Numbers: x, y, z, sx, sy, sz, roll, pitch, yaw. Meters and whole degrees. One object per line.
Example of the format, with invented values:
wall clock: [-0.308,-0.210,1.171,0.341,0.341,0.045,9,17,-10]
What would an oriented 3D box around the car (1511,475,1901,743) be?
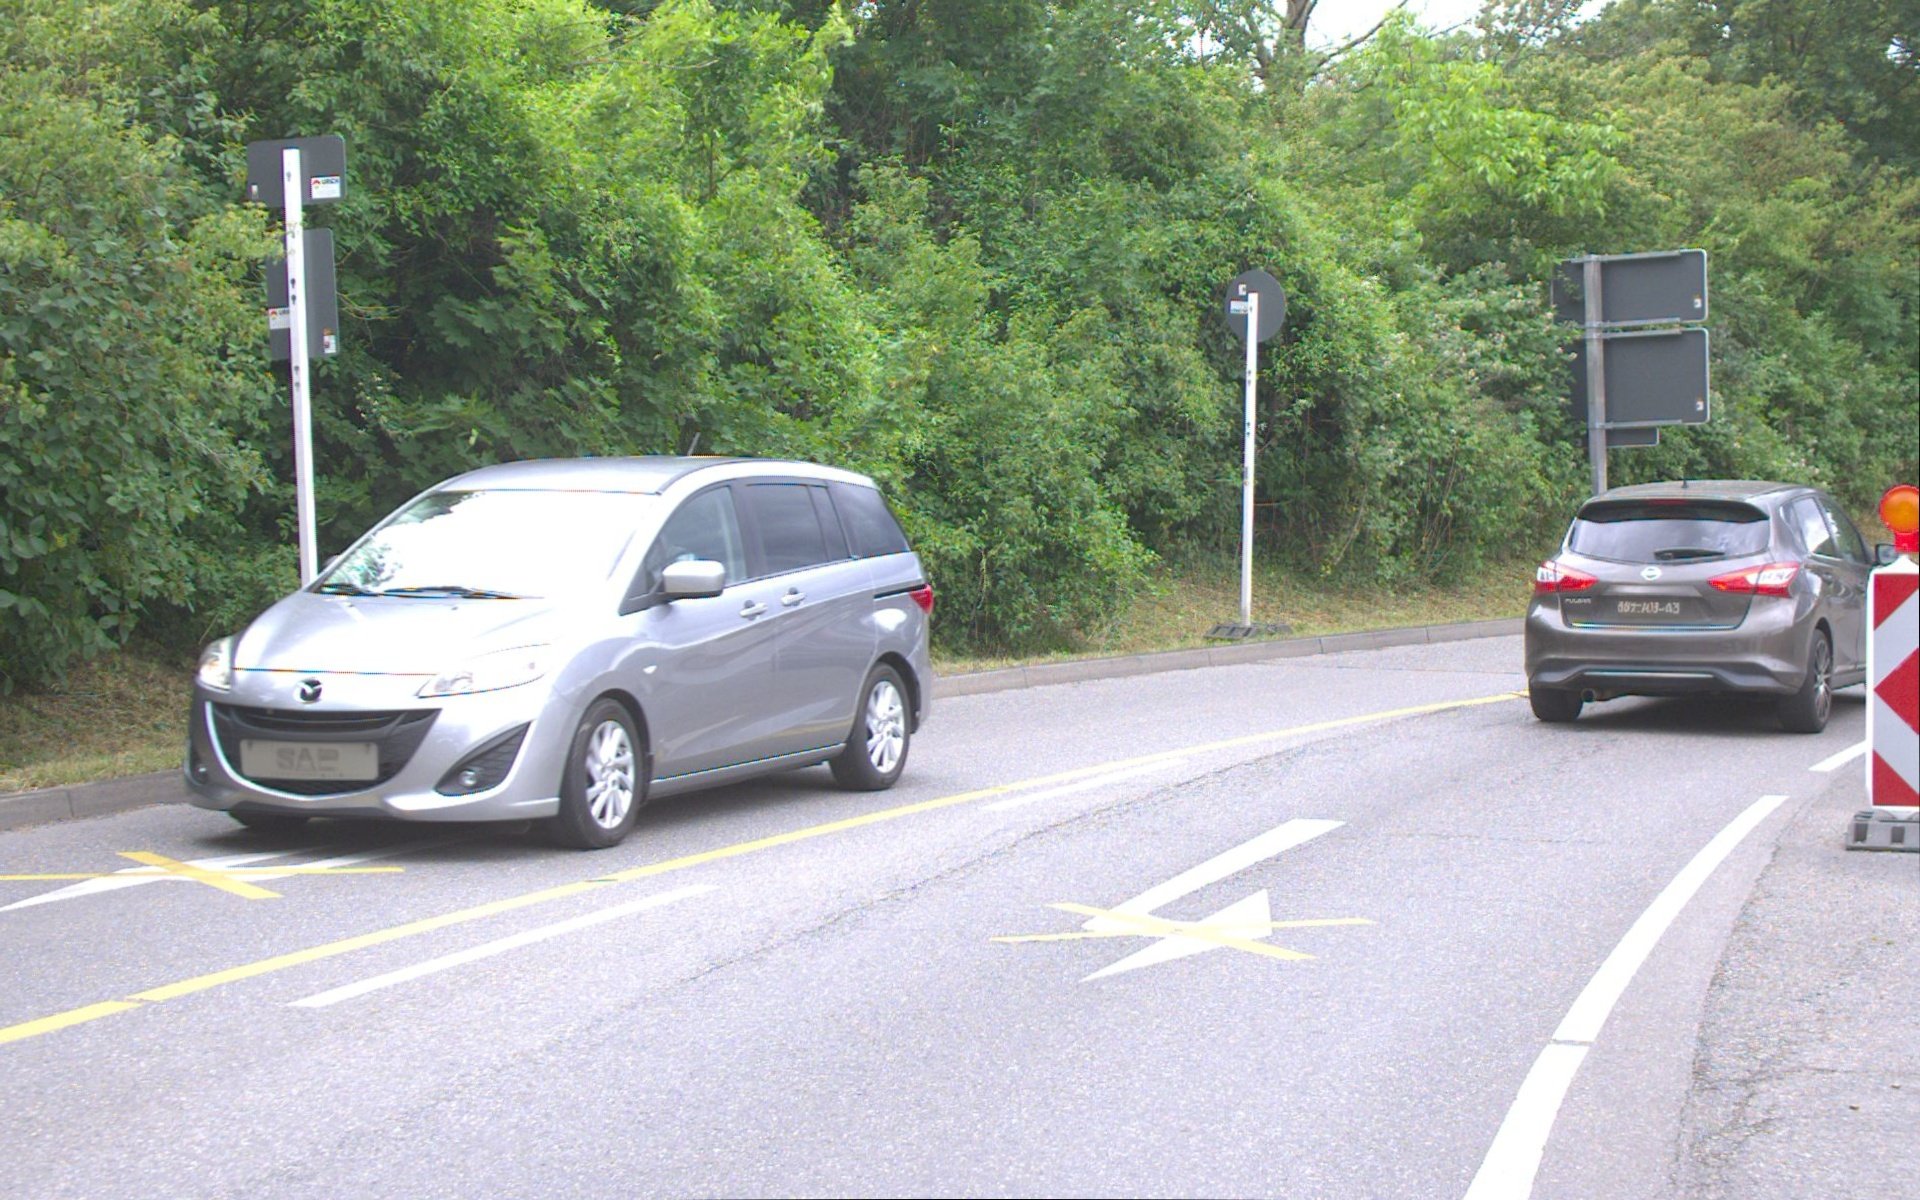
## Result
car: [4.882,-0.027,22.116,1.800,1.546,3.996,1,2,22]

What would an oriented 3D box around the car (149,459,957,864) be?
car: [-1.625,0.176,15.376,1.634,1.539,4.346,1,2,23]
